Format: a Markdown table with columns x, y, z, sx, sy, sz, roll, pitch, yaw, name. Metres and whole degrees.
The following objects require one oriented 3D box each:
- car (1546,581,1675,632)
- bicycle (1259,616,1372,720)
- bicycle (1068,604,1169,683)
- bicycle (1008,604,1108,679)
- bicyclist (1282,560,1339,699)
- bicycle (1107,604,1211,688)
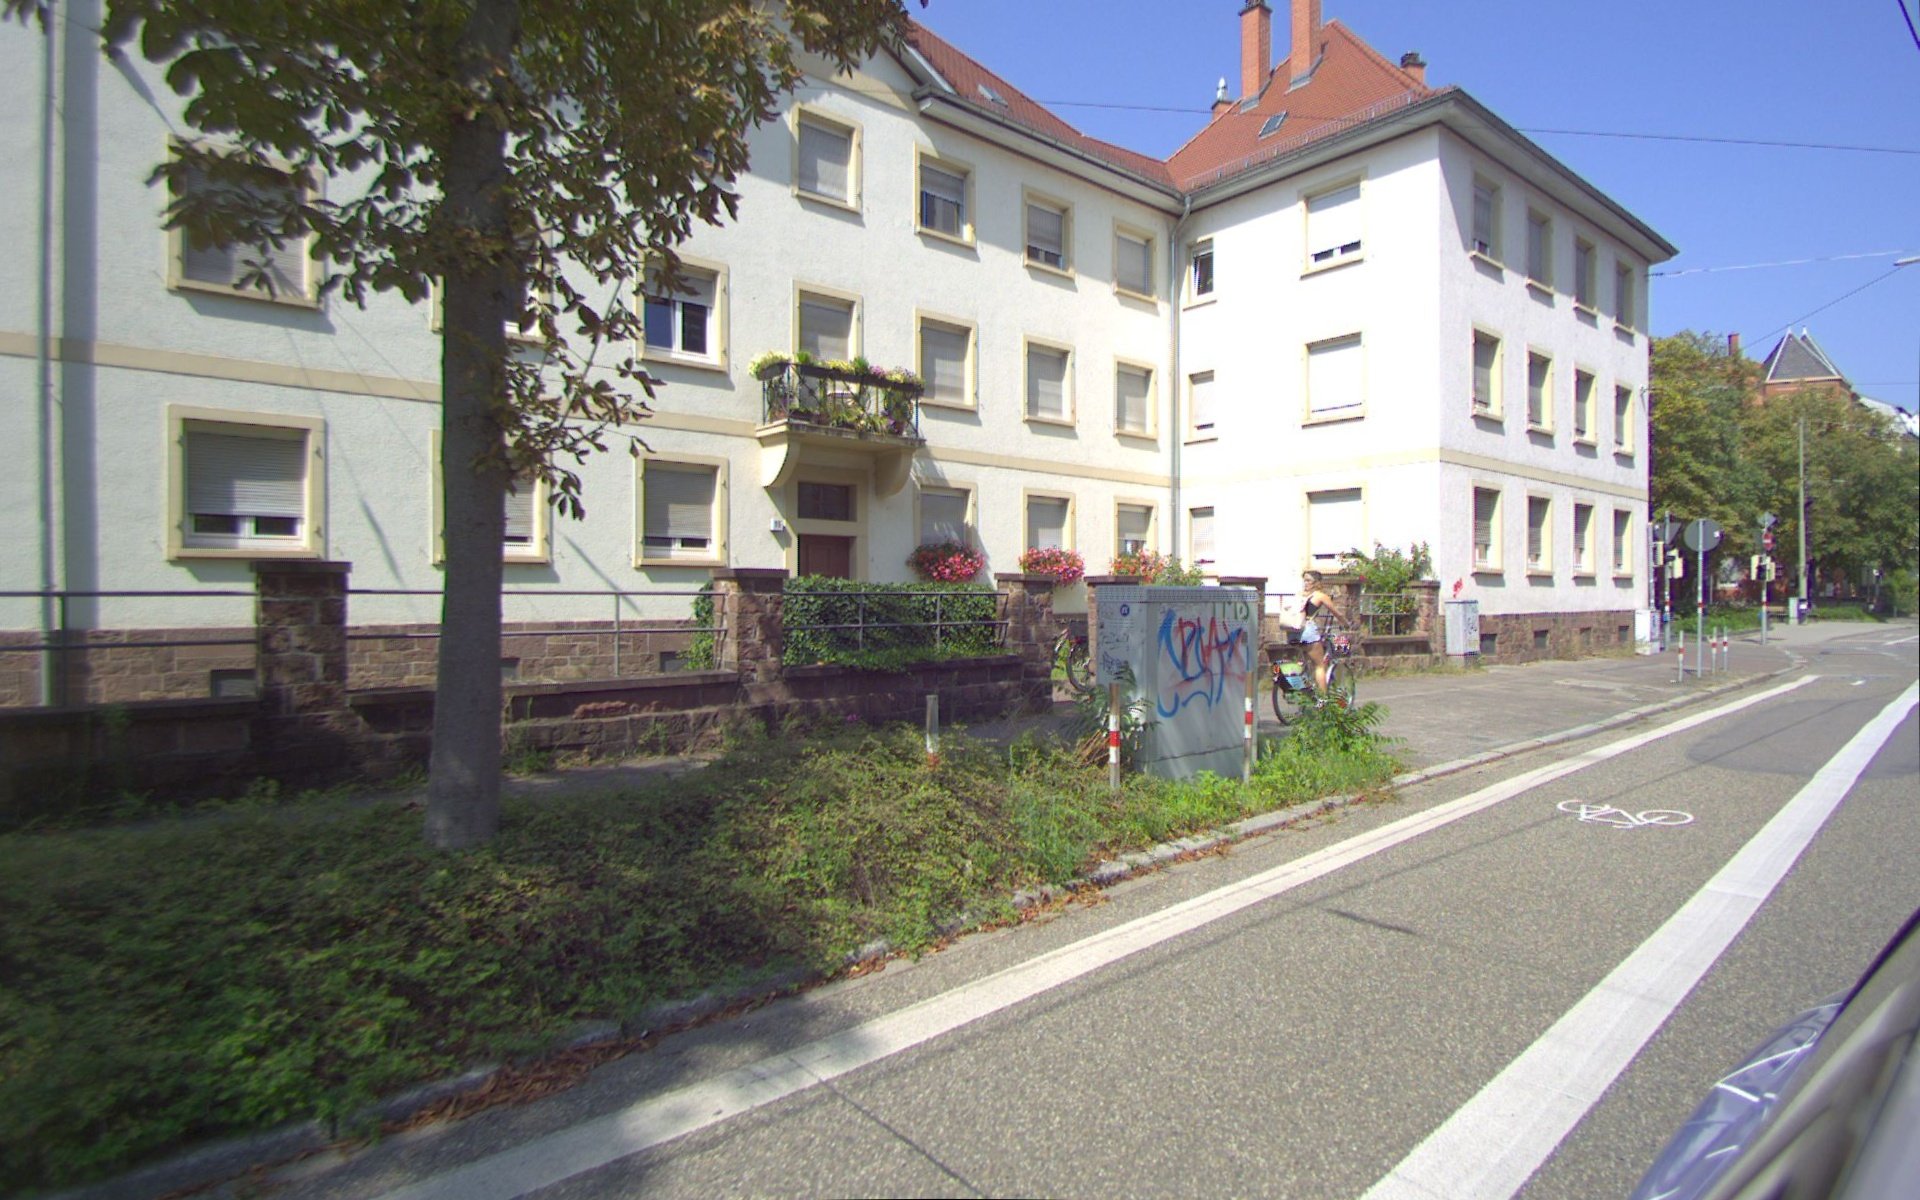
| x | y | z | sx | sy | sz | roll | pitch | yaw | name |
| --- | --- | --- | --- | --- | --- | --- | --- | --- | --- |
| 24.740 | 0.234 | 38.715 | 1.768 | 1.835 | 4.420 | 0 | 0 | -5 | car |
| 4.071 | 0.733 | 11.532 | 1.798 | 1.060 | 0.440 | 0 | 0 | -43 | bicycle |
| 2.323 | 0.601 | 14.663 | 1.798 | 1.060 | 0.440 | 0 | 0 | -43 | bicycle |
| 1.498 | 0.594 | 15.247 | 1.798 | 1.060 | 0.440 | 0 | 0 | -43 | bicycle |
| 3.959 | 0.321 | 11.429 | 0.464 | 1.531 | 0.438 | 0 | 0 | -43 | bicyclist |
| 2.753 | 0.602 | 13.883 | 1.798 | 1.060 | 0.440 | 0 | 0 | -43 | bicycle |
